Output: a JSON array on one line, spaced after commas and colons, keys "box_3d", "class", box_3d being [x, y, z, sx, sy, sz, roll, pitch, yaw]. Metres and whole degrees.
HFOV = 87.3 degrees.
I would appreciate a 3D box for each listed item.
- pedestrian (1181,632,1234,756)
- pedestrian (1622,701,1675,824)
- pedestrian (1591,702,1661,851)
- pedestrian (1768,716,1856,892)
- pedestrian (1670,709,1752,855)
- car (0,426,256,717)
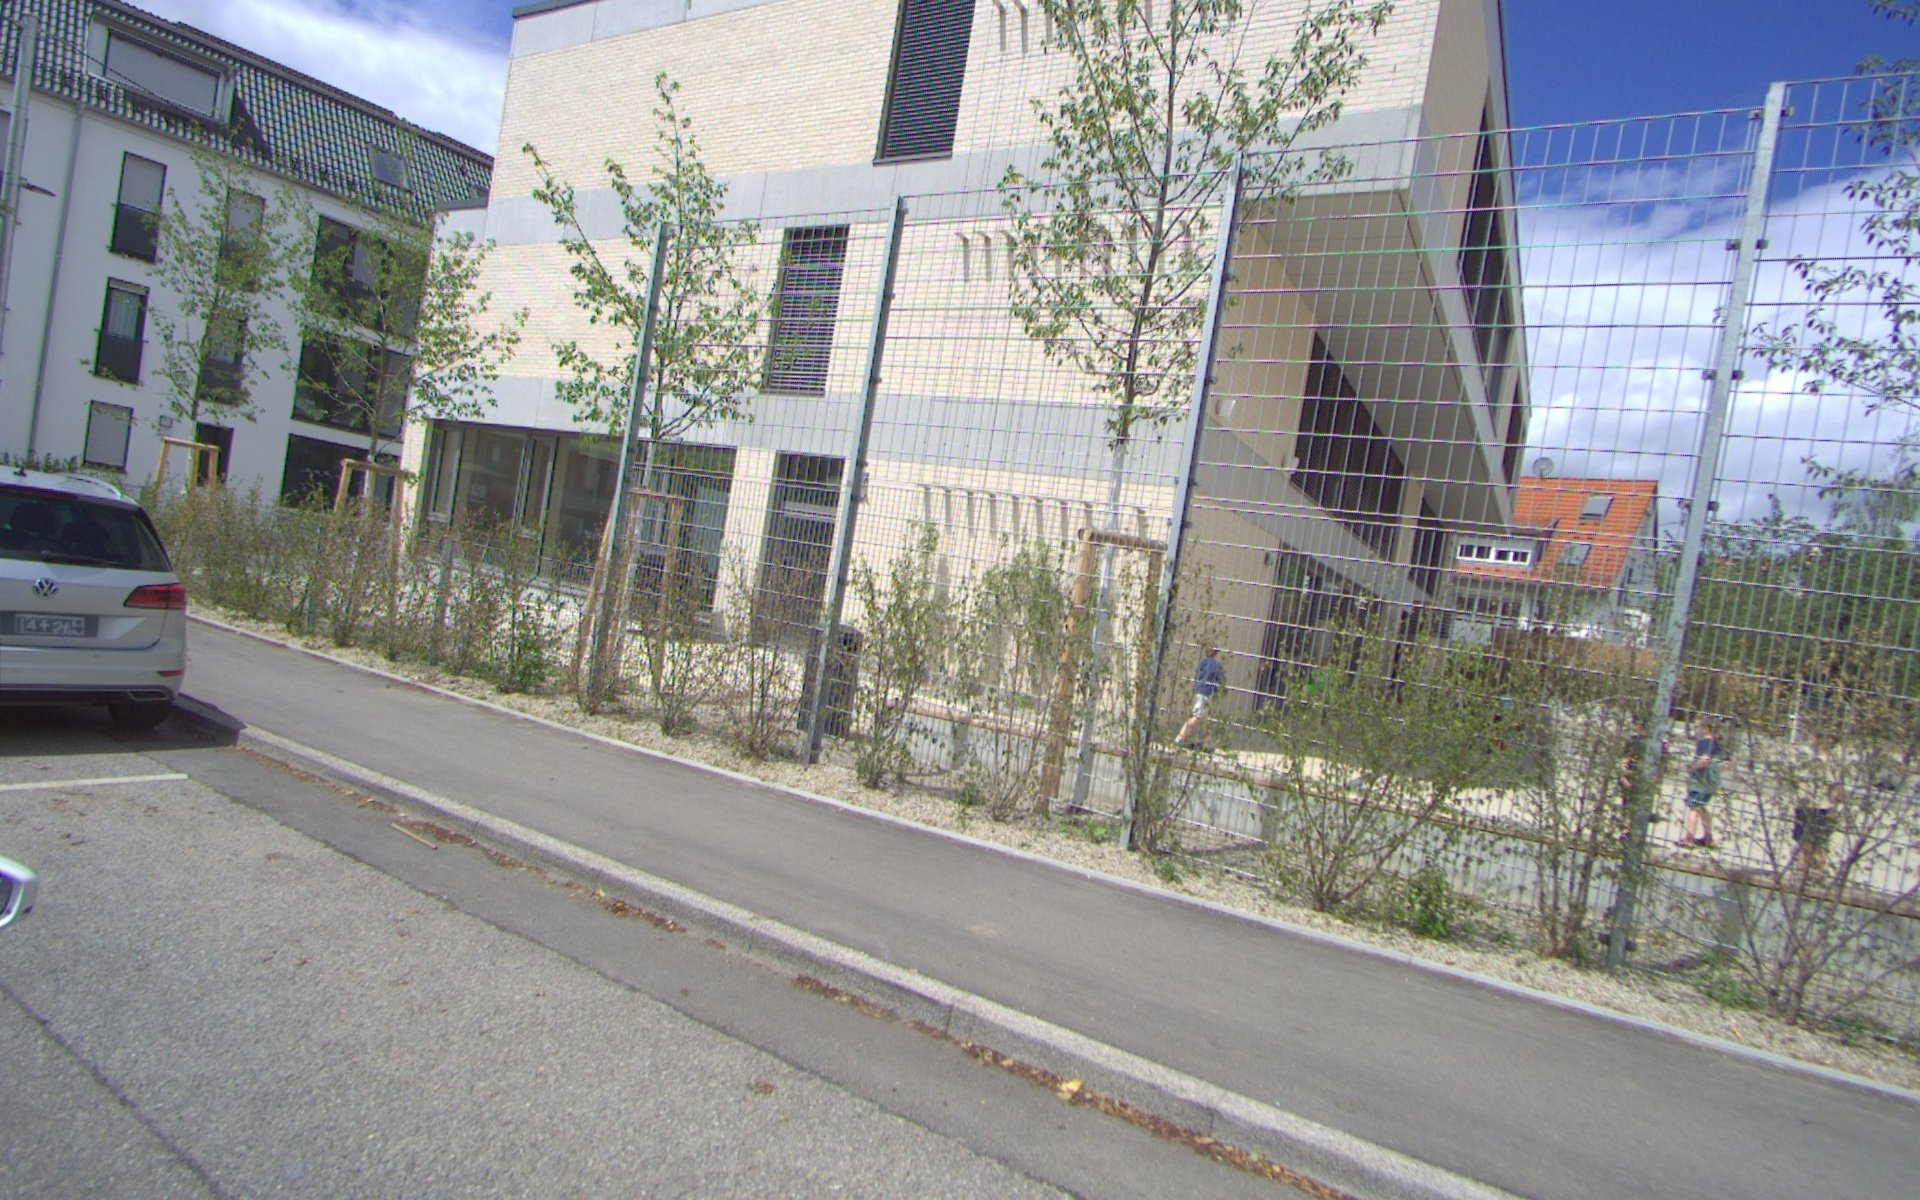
[{"box_3d": [2.994, 1.128, 12.155, 0.362, 1.433, 0.351, 8, 0, 31], "class": "pedestrian"}, {"box_3d": [8.414, 1.979, 12.301, 0.362, 1.433, 0.292, 8, 0, 31], "class": "pedestrian"}, {"box_3d": [6.386, 1.672, 9.656, 0.345, 1.344, 0.371, 8, 0, 23], "class": "pedestrian"}, {"box_3d": [6.935, 1.646, 8.201, 0.312, 1.344, 0.371, 8, 0, 24], "class": "pedestrian"}, {"box_3d": [7.441, 1.785, 9.981, 0.436, 1.344, 0.371, 8, 0, 23], "class": "pedestrian"}, {"box_3d": [-6.746, -0.353, 6.634, 4.292, 1.527, 1.789, 7, -1, 32], "class": "car"}]
